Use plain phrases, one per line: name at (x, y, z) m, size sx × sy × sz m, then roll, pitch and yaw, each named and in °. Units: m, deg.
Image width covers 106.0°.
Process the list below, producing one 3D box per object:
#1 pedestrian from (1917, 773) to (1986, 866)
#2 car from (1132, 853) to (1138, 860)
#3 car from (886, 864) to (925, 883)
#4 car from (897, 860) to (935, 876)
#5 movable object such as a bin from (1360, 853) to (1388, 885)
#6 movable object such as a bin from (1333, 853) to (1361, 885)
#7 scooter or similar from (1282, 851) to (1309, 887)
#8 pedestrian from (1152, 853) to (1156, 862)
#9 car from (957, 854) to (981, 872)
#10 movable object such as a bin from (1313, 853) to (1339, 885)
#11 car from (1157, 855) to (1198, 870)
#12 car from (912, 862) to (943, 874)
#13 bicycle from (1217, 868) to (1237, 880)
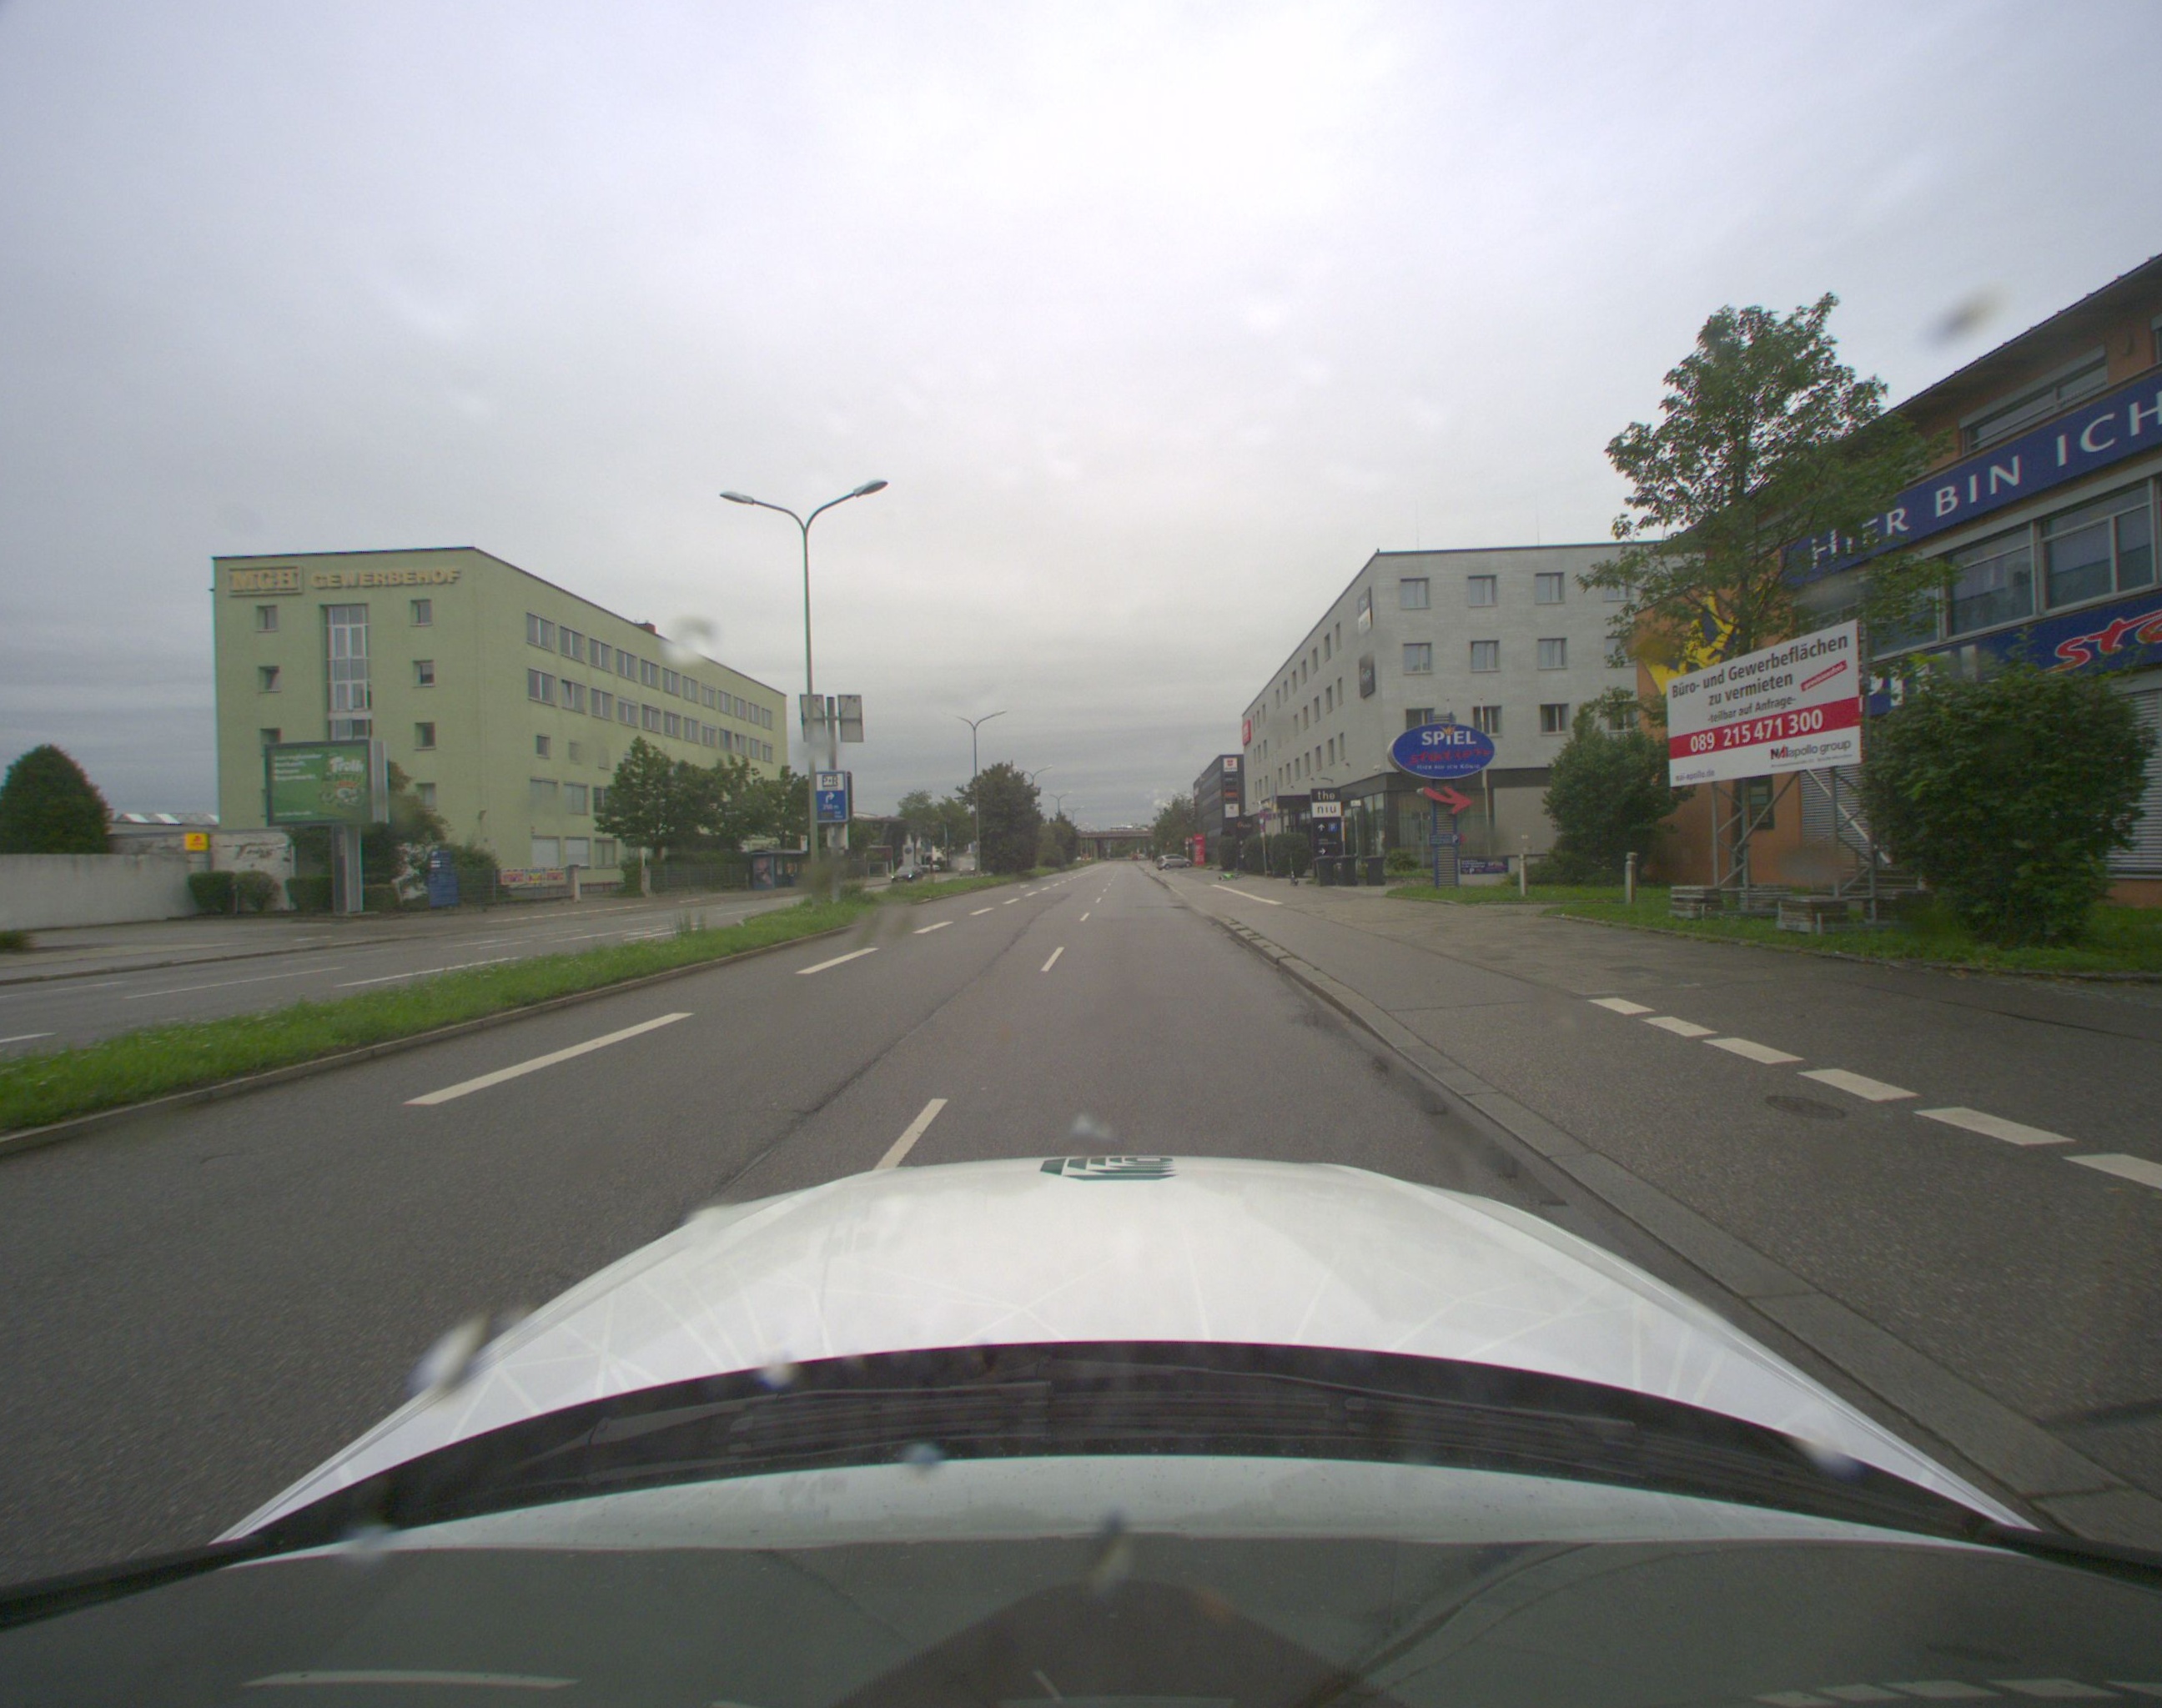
pedestrian at (16.452, -0.642, 15.399) m, size 0.664 × 1.712 × 0.655 m, roll -3°, pitch -1°, yaw -25°
car at (16.305, 0.650, 245.723) m, size 1.804 × 2.013 × 3.838 m, roll -1°, pitch 0°, yaw 5°
car at (-14.597, 1.609, 67.885) m, size 1.986 × 1.401 × 4.657 m, roll -3°, pitch 0°, yaw 2°
car at (-22.111, 1.895, 109.088) m, size 4.648 × 1.842 × 1.789 m, roll -3°, pitch 0°, yaw -20°
movable object such as a bin at (10.227, 0.524, 28.440) m, size 0.734 × 1.078 × 0.656 m, roll -3°, pitch -1°, yaw 3°
movable object such as a bin at (9.248, 0.524, 28.316) m, size 0.734 × 1.078 × 0.656 m, roll -3°, pitch -1°, yaw 3°
scooter or similar at (8.173, 0.558, 31.114) m, size 0.583 × 1.277 × 1.405 m, roll -7°, pitch -1°, yaw 3°
pedestrian at (15.223, 0.681, 170.211) m, size 0.686 × 1.876 × 0.662 m, roll -3°, pitch -1°, yaw 2°
car at (-13.290, 1.091, 97.142) m, size 1.986 × 1.960 × 4.326 m, roll -3°, pitch 0°, yaw 2°
movable object such as a bin at (8.717, 0.532, 28.991) m, size 0.734 × 1.078 × 0.656 m, roll -3°, pitch -1°, yaw 3°
car at (10.408, 0.880, 87.638) m, size 4.034 × 1.557 × 1.804 m, roll -1°, pitch 0°, yaw -26°
car at (-22.214, 2.046, 117.917) m, size 3.951 × 1.509 × 1.811 m, roll -3°, pitch 0°, yaw 24°
bicycle at (7.482, 1.016, 41.803) m, size 0.717 × 0.548 × 1.733 m, roll -5°, pitch 0°, yaw 3°
